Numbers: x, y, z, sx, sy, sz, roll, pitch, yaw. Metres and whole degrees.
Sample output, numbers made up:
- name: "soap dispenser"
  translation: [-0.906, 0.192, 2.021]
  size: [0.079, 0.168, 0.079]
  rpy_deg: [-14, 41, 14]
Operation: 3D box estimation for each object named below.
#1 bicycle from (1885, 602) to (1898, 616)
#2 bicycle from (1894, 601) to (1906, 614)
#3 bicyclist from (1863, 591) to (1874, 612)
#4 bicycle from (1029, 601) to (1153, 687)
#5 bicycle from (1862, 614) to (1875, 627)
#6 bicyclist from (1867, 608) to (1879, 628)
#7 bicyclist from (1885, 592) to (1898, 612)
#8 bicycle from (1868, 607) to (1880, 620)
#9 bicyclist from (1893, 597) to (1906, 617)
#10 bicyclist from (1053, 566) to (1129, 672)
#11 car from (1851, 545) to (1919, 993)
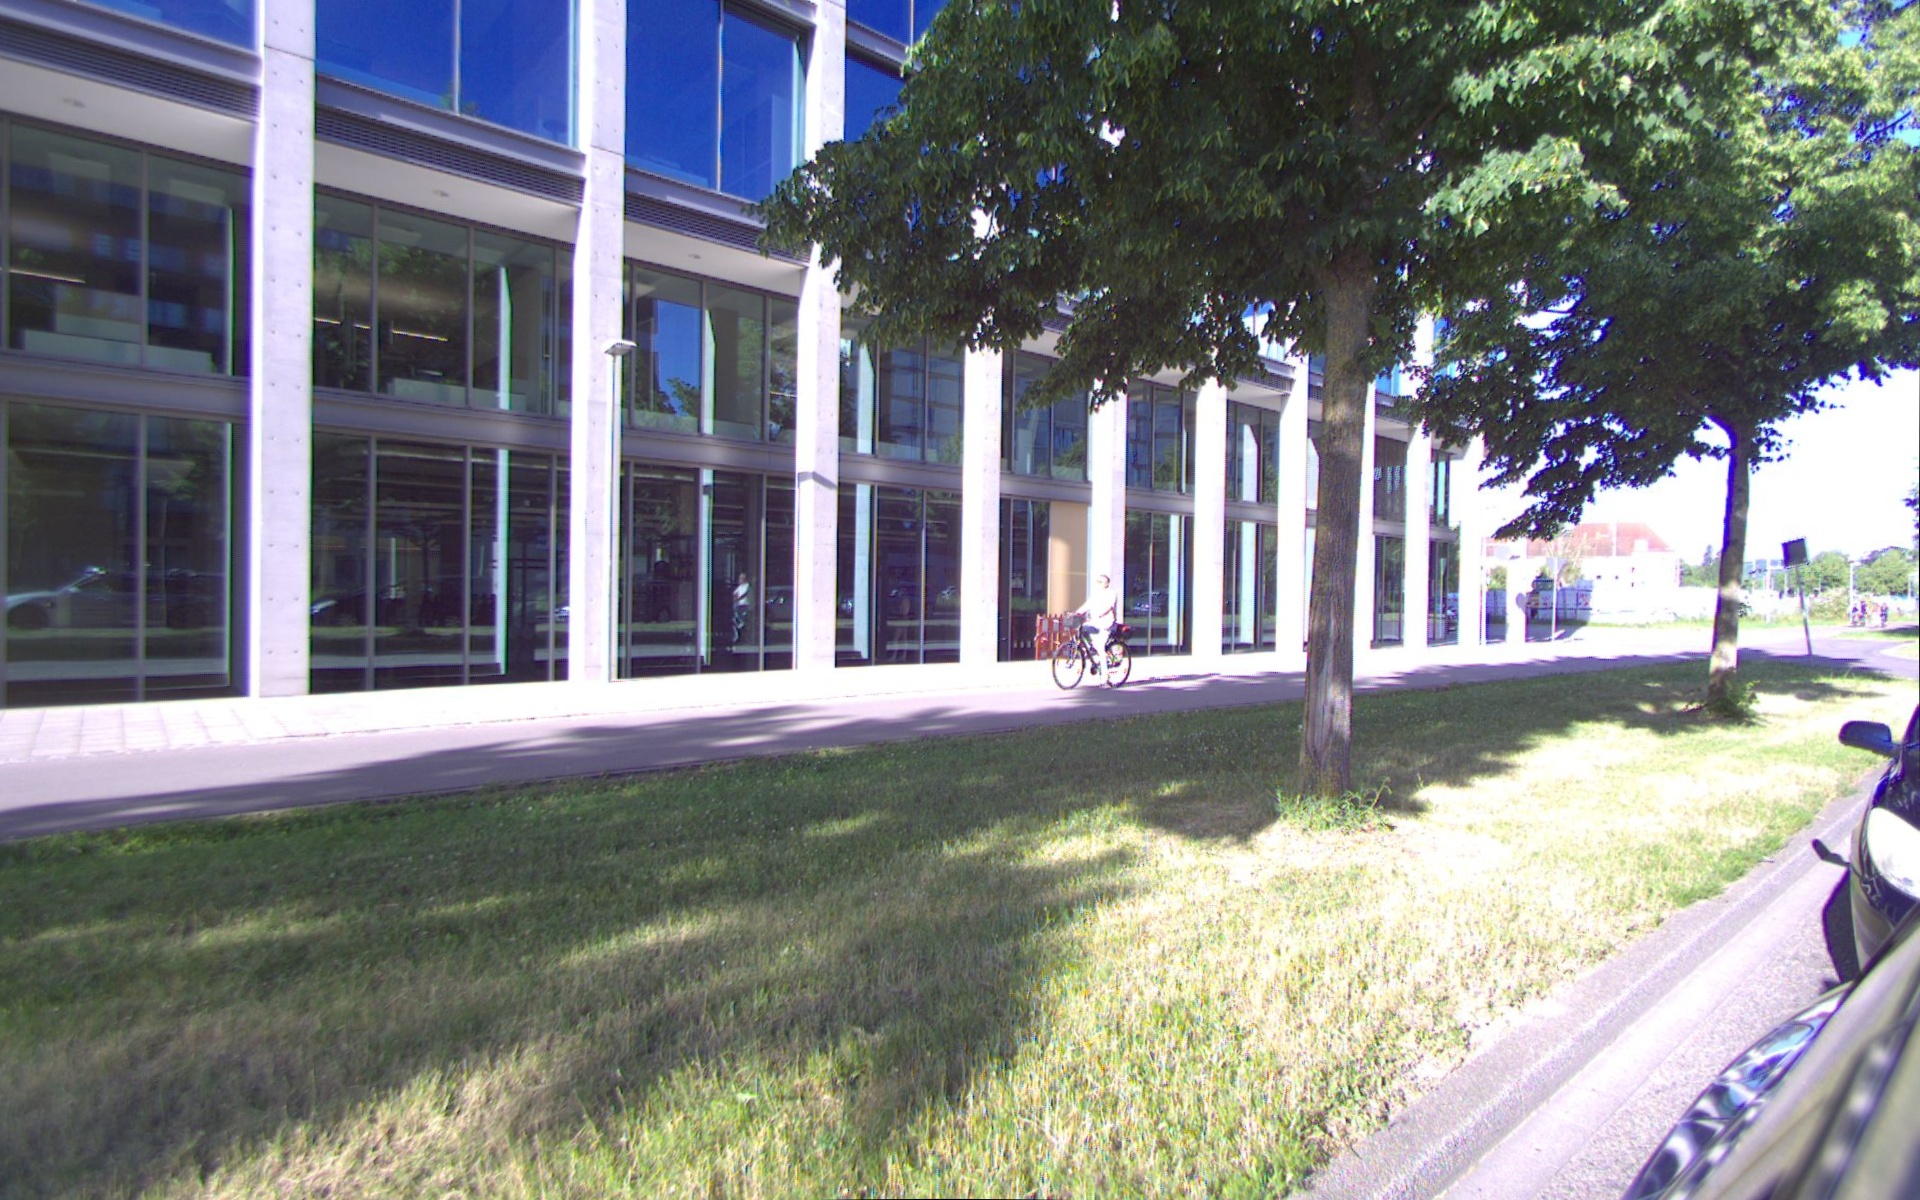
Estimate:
- name: "bicycle"
  translation: [58.931, 0.561, 64.030]
  size: [1.321, 0.828, 0.464]
  rpy_deg: [-1, 0, -40]
- name: "bicycle"
  translation: [61.936, 0.515, 66.682]
  size: [1.321, 0.828, 0.464]
  rpy_deg: [-1, 0, -40]
- name: "bicyclist"
  translation: [58.155, 0.090, 64.776]
  size: [0.410, 1.305, 0.448]
  rpy_deg: [0, 0, -40]
- name: "bicycle"
  translation: [2.002, 0.625, 15.332]
  size: [1.927, 1.188, 0.743]
  rpy_deg: [0, 2, -41]
- name: "bicycle"
  translation: [58.176, 1.303, 64.804]
  size: [1.296, 0.828, 0.415]
  rpy_deg: [-1, 0, -40]
- name: "bicyclist"
  translation: [60.951, 1.226, 67.534]
  size: [0.449, 1.305, 0.534]
  rpy_deg: [0, 0, -40]
- name: "bicyclist"
  translation: [58.988, 0.129, 64.060]
  size: [0.498, 1.232, 0.534]
  rpy_deg: [0, 0, -40]
- name: "bicycle"
  translation: [60.983, 0.904, 67.522]
  size: [1.321, 0.828, 0.464]
  rpy_deg: [-1, 0, -40]
- name: "bicyclist"
  translation: [61.886, 0.469, 66.652]
  size: [0.512, 1.305, 0.534]
  rpy_deg: [0, 0, -40]
- name: "bicyclist"
  translation: [1.978, 0.266, 15.293]
  size: [0.835, 1.550, 0.773]
  rpy_deg: [0, 1, -41]
- name: "car"
  translation: [5.139, 0.591, 4.191]
  size: [3.719, 1.541, 1.685]
  rpy_deg: [0, 1, -41]
